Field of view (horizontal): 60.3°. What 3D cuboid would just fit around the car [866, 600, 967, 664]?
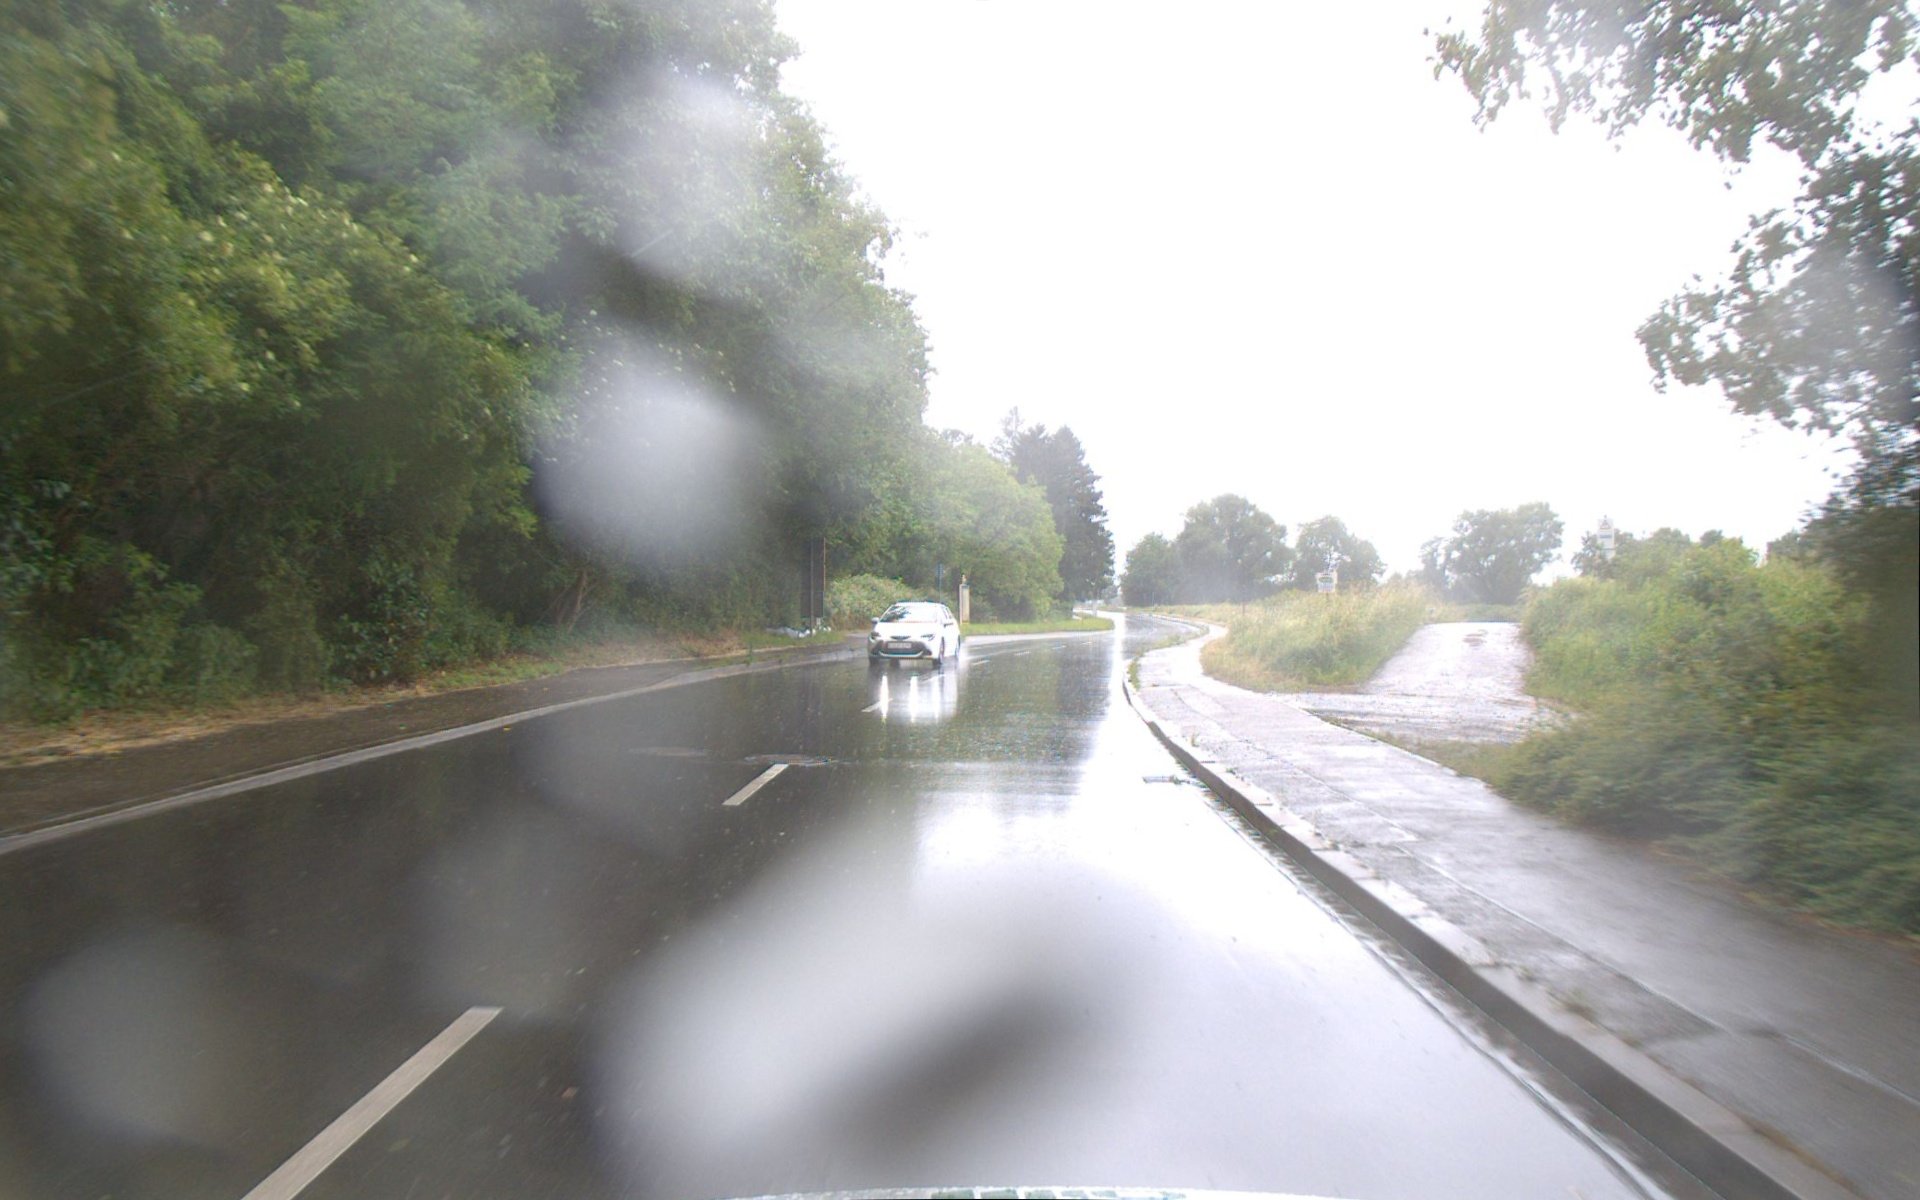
[{"bbox_3d":[-0.983,0.732,40.203,1.748,1.443,4.637,1,0,7],"label":"car"}]
